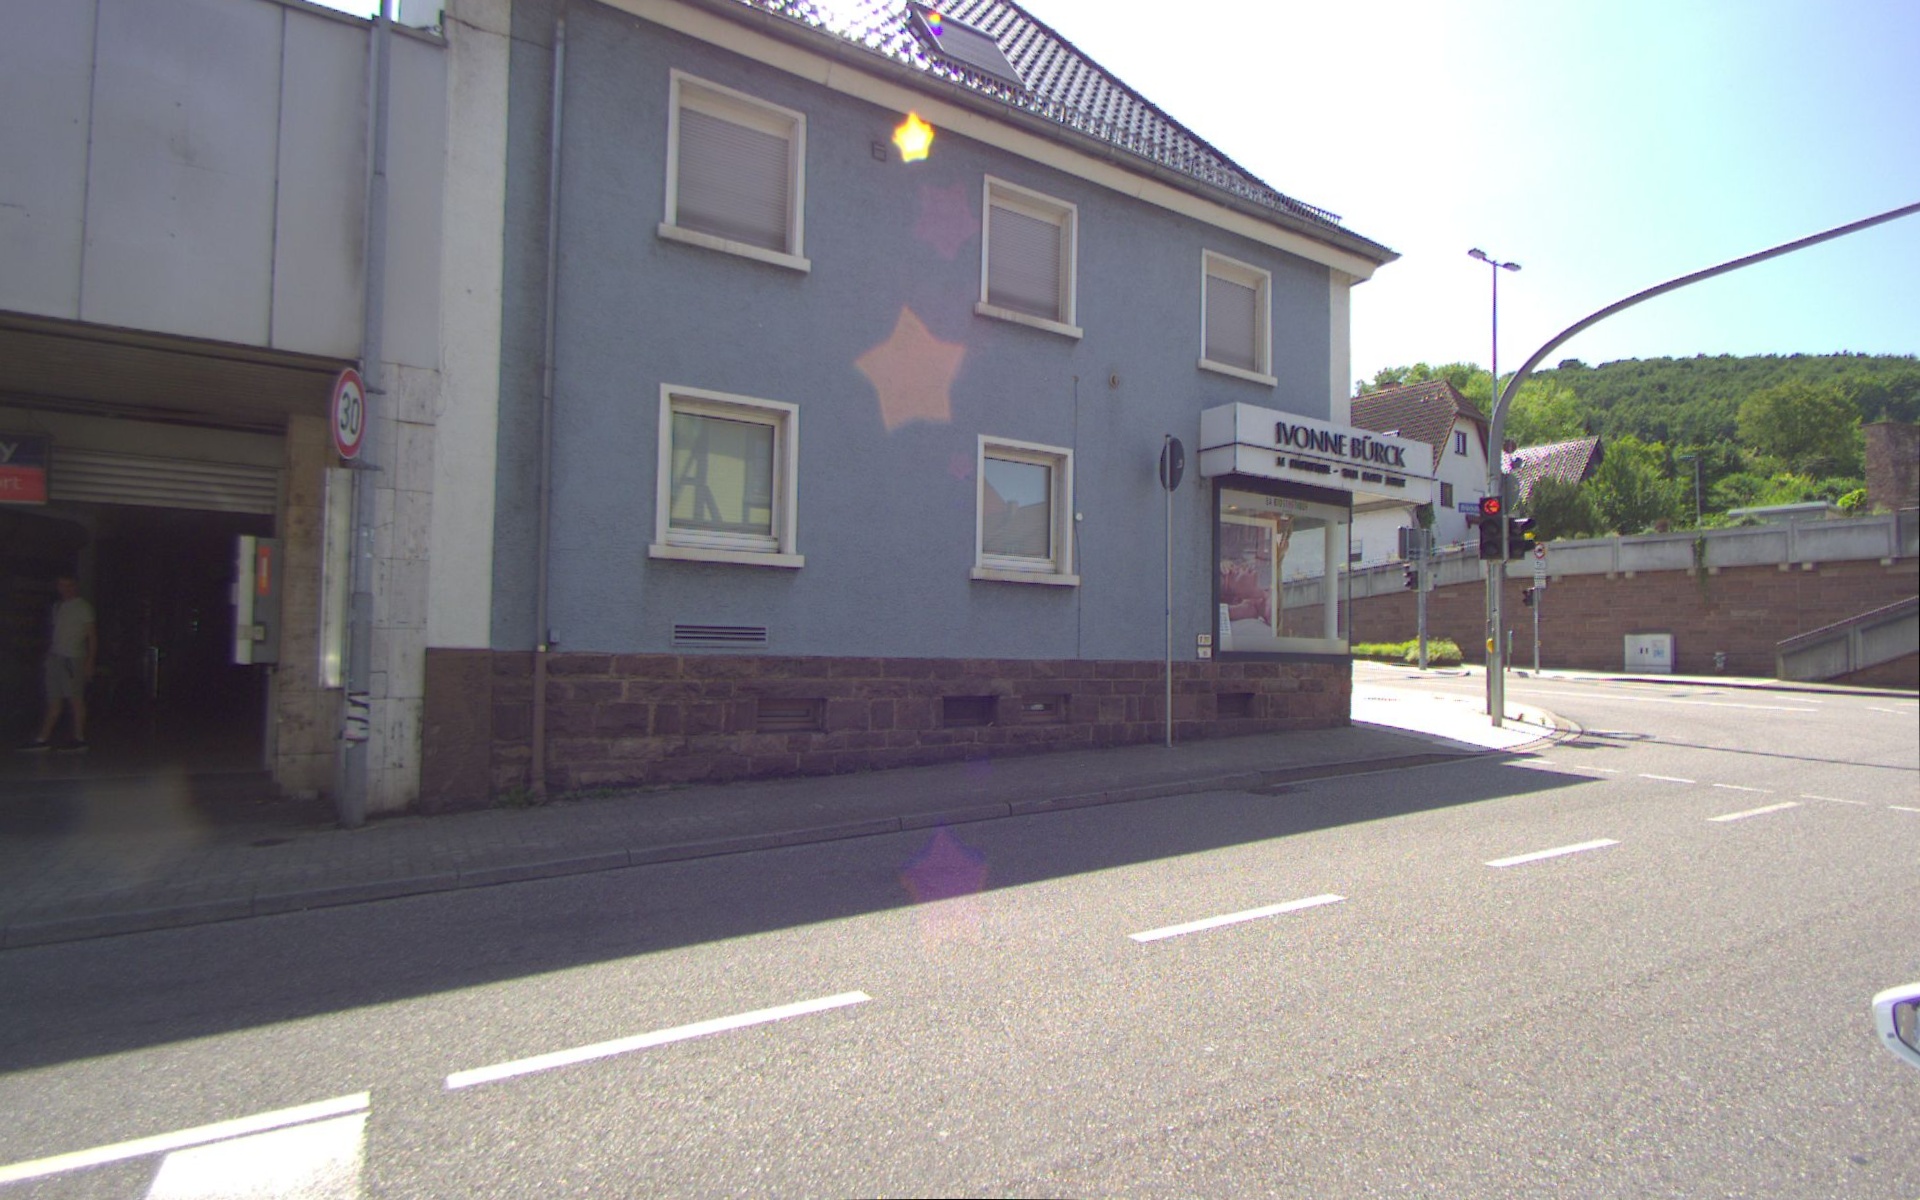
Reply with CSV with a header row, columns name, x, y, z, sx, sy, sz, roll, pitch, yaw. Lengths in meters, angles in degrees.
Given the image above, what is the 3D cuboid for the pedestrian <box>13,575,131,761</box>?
name,x,y,z,sx,sy,sz,roll,pitch,yaw
pedestrian,-9.250,0.687,10.469,0.730,1.852,0.693,0,-1,29
